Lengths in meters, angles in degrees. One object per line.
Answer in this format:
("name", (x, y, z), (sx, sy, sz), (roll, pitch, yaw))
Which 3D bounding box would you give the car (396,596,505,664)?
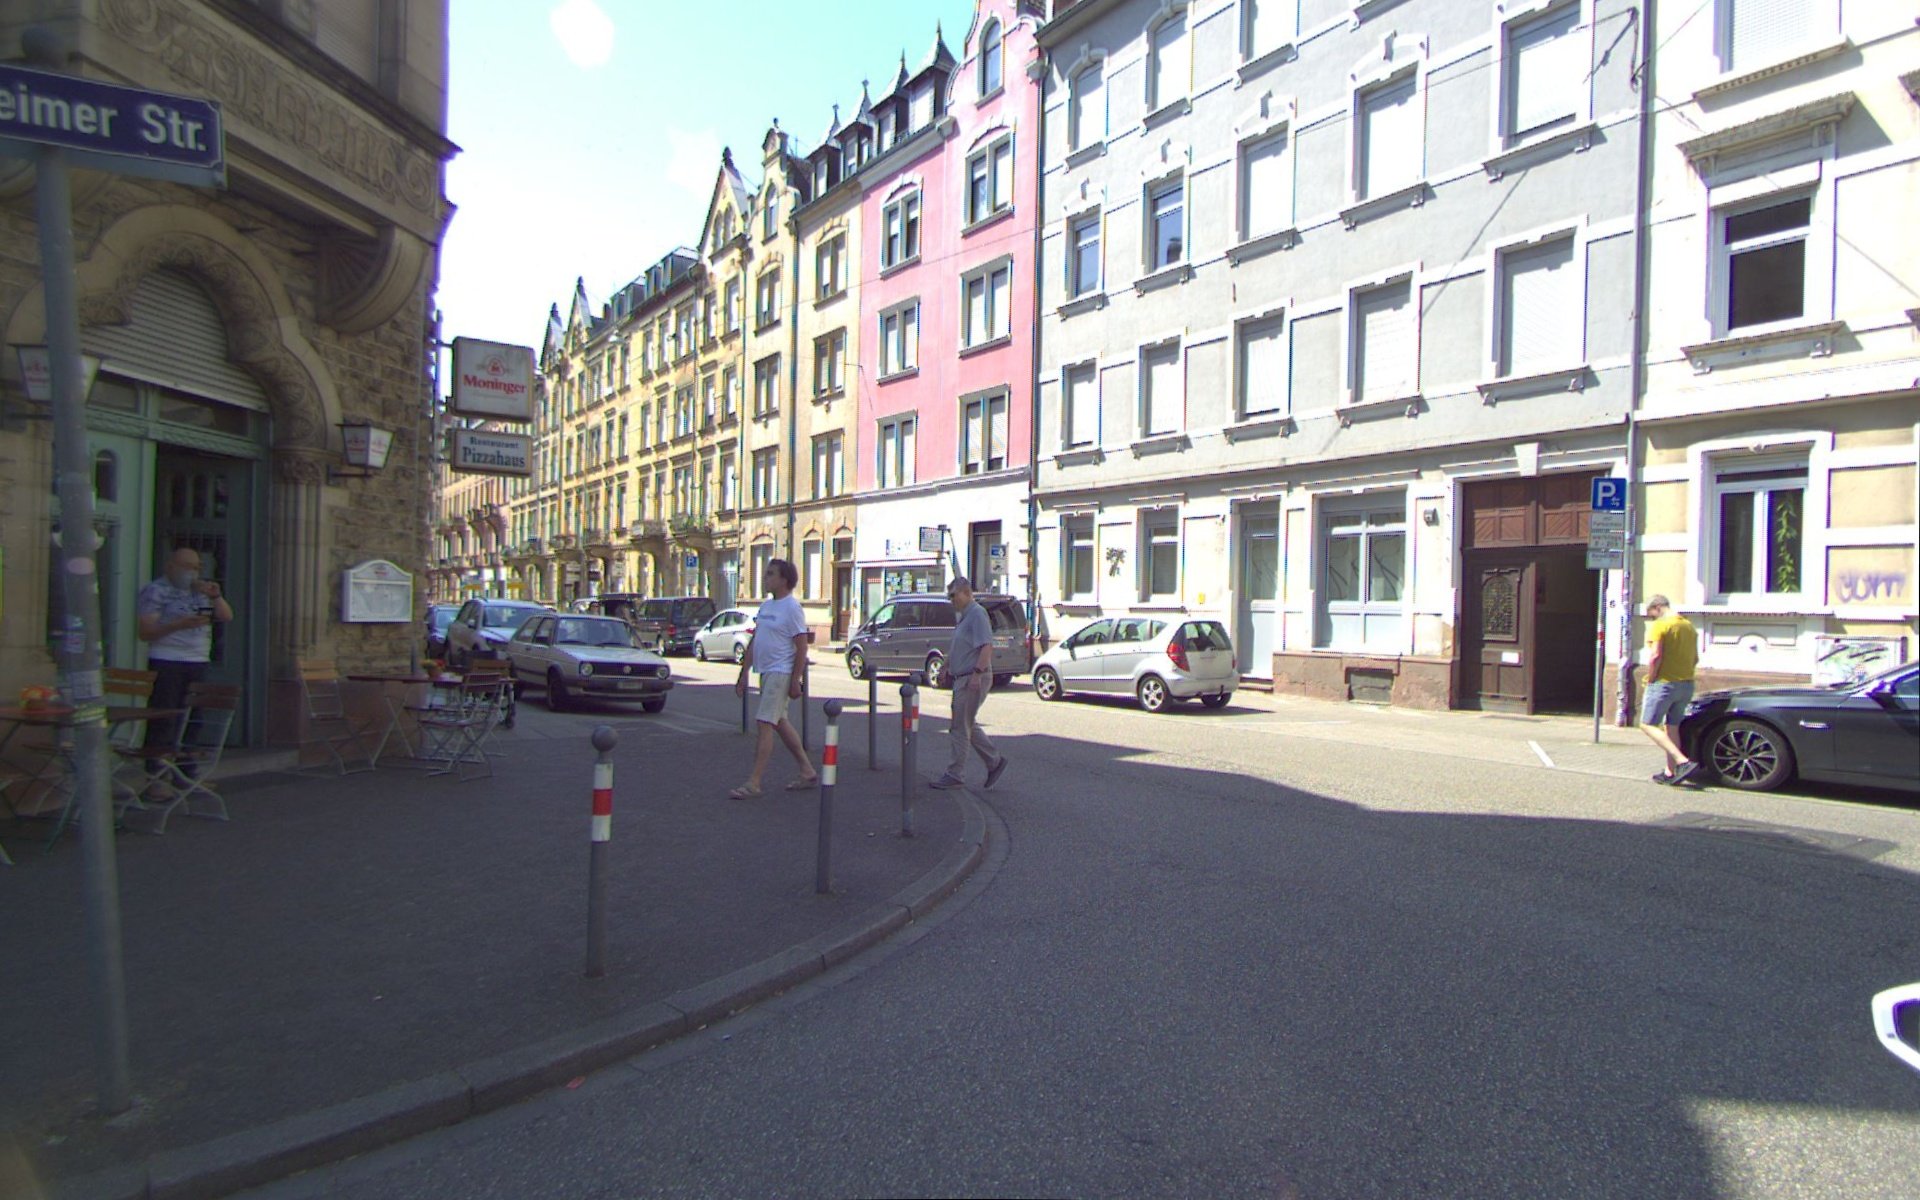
("car", (-12.206, 0.700, 23.984), (1.624, 1.464, 3.513), (4, -3, -38))

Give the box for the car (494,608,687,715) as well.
("car", (-5.877, 0.907, 15.727), (1.707, 1.444, 3.804), (4, -3, -38))

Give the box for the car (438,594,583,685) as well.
("car", (-8.969, 0.773, 19.889), (1.707, 1.603, 3.804), (4, -3, -38))

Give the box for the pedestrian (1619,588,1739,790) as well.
("pedestrian", (6.993, 0.839, 9.785), (0.676, 1.878, 0.722), (2, -1, -25))

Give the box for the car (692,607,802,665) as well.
("car", (-6.347, 1.012, 29.721), (1.707, 1.603, 3.804), (1, -1, -38))

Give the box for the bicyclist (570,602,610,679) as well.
("bicyclist", (-7.914, 0.855, 21.488), (0.618, 1.619, 0.669), (2, -1, -36))

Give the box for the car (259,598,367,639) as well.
("car", (-26.348, 0.766, 40.951), (3.604, 1.579, 1.609), (2, -2, -37))

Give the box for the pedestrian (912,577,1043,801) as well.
("pedestrian", (0.130, 0.750, 8.794), (0.943, 1.838, 0.902), (1, -1, -12))

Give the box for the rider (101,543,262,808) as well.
("rider", (-5.317, 0.494, 6.890), (0.530, 1.719, 0.642), (1, -1, 8))

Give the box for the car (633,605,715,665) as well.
("car", (-9.727, 1.145, 34.038), (1.534, 1.910, 3.324), (1, -1, -38))

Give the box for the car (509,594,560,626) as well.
("car", (-21.252, 0.511, 50.147), (1.513, 1.464, 3.252), (4, -3, -38))

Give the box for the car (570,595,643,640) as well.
("car", (-14.499, 0.713, 41.086), (1.707, 1.753, 3.804), (1, -1, -38))

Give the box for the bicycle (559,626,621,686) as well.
("bicycle", (-7.940, 1.170, 21.494), (0.607, 1.203, 2.280), (2, -2, -37))

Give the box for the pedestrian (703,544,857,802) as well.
("pedestrian", (-1.453, 0.560, 8.082), (0.926, 1.914, 0.844), (2, -1, -35))

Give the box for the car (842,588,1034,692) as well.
("car", (-0.607, 0.809, 22.119), (1.859, 2.024, 4.672), (0, -1, -37))

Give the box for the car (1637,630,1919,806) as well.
("car", (9.060, 1.033, 8.810), (1.981, 1.456, 4.825), (2, -2, -36))

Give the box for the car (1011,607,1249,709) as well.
("car", (2.884, 0.947, 17.755), (1.791, 1.582, 4.016), (2, -2, -37))
